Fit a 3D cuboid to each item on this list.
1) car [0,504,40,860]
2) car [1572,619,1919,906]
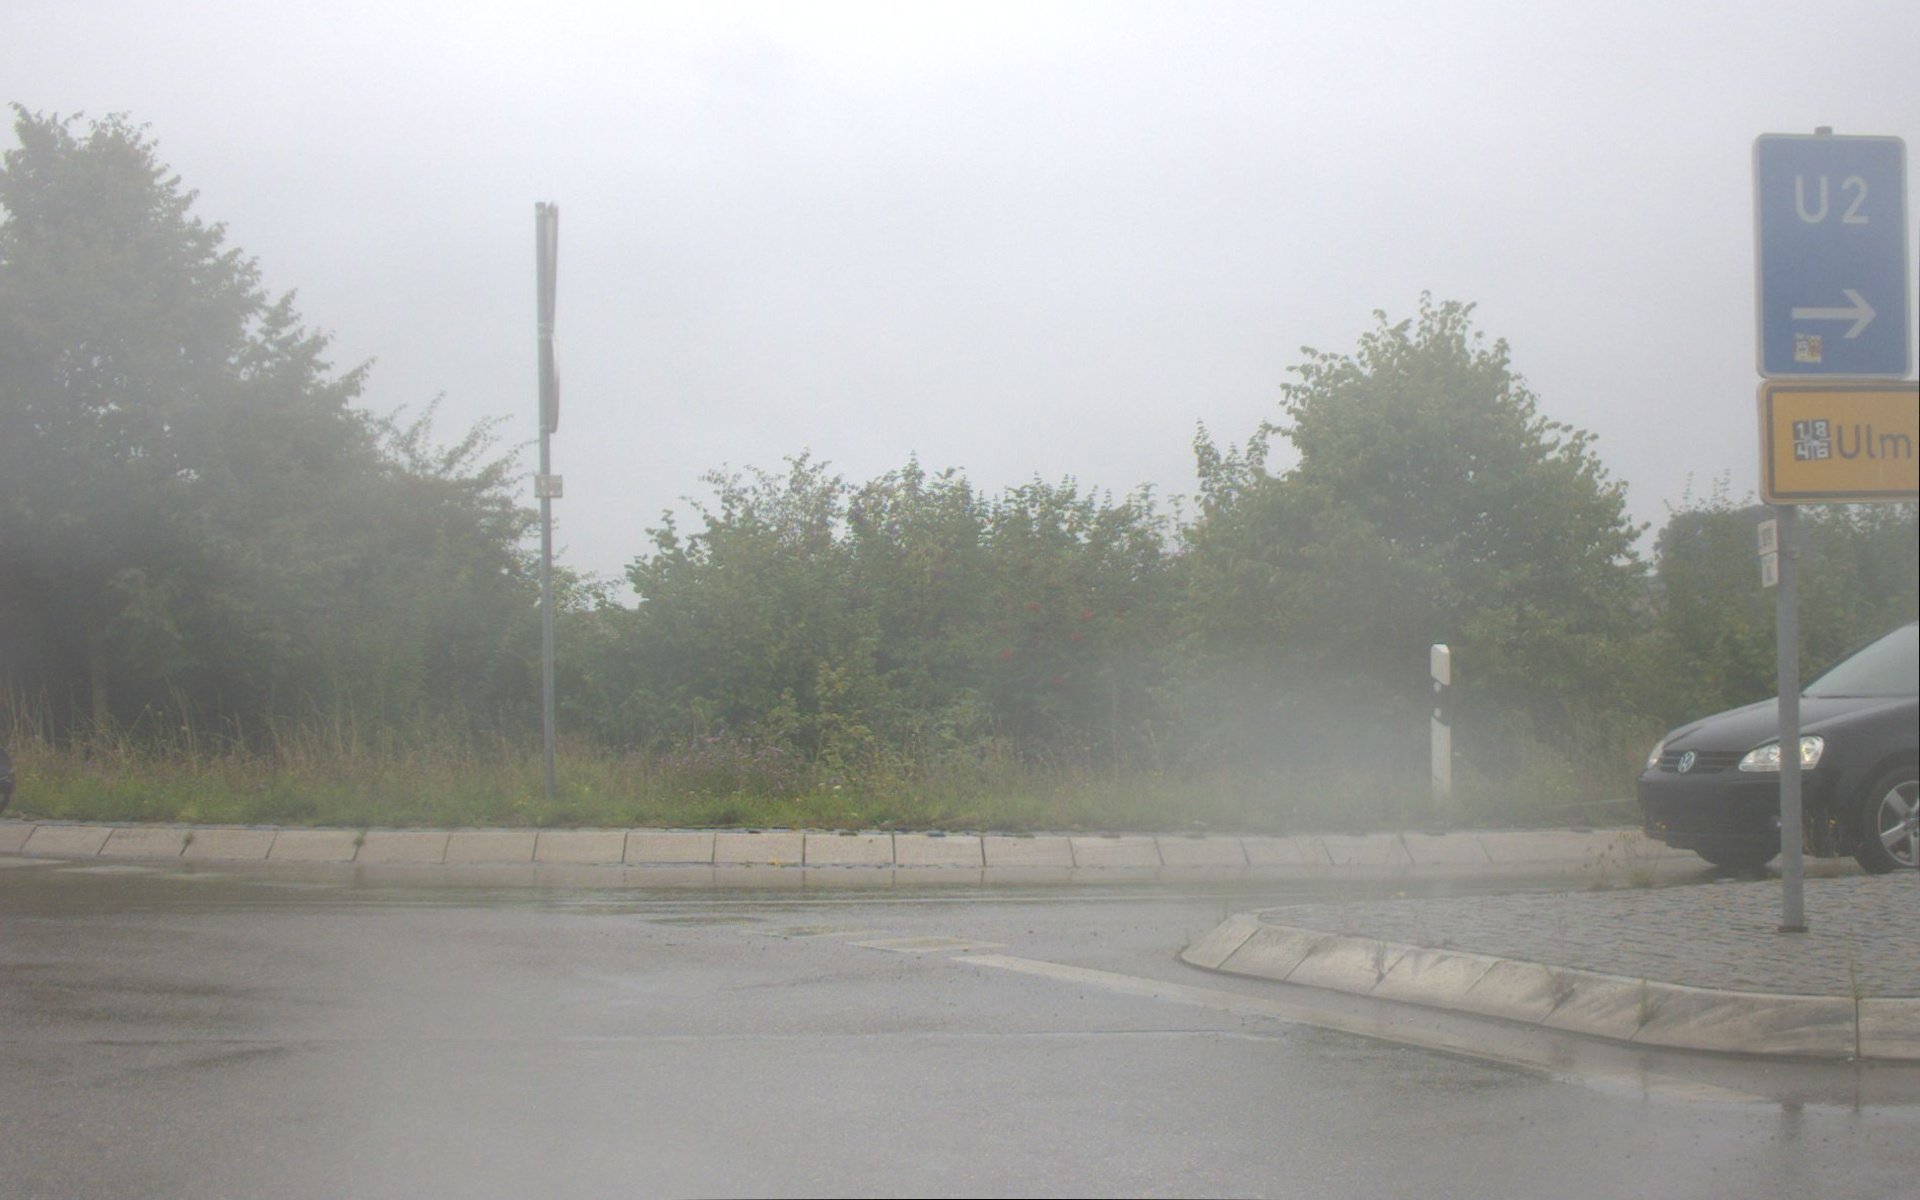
[{"bbox_3d":[-7.506,0.430,17.796,4.962,1.864,2.000,0,0,-1],"label":"car"},{"bbox_3d":[5.815,0.850,18.886,4.487,1.416,1.875,1,0,-21],"label":"car"}]
